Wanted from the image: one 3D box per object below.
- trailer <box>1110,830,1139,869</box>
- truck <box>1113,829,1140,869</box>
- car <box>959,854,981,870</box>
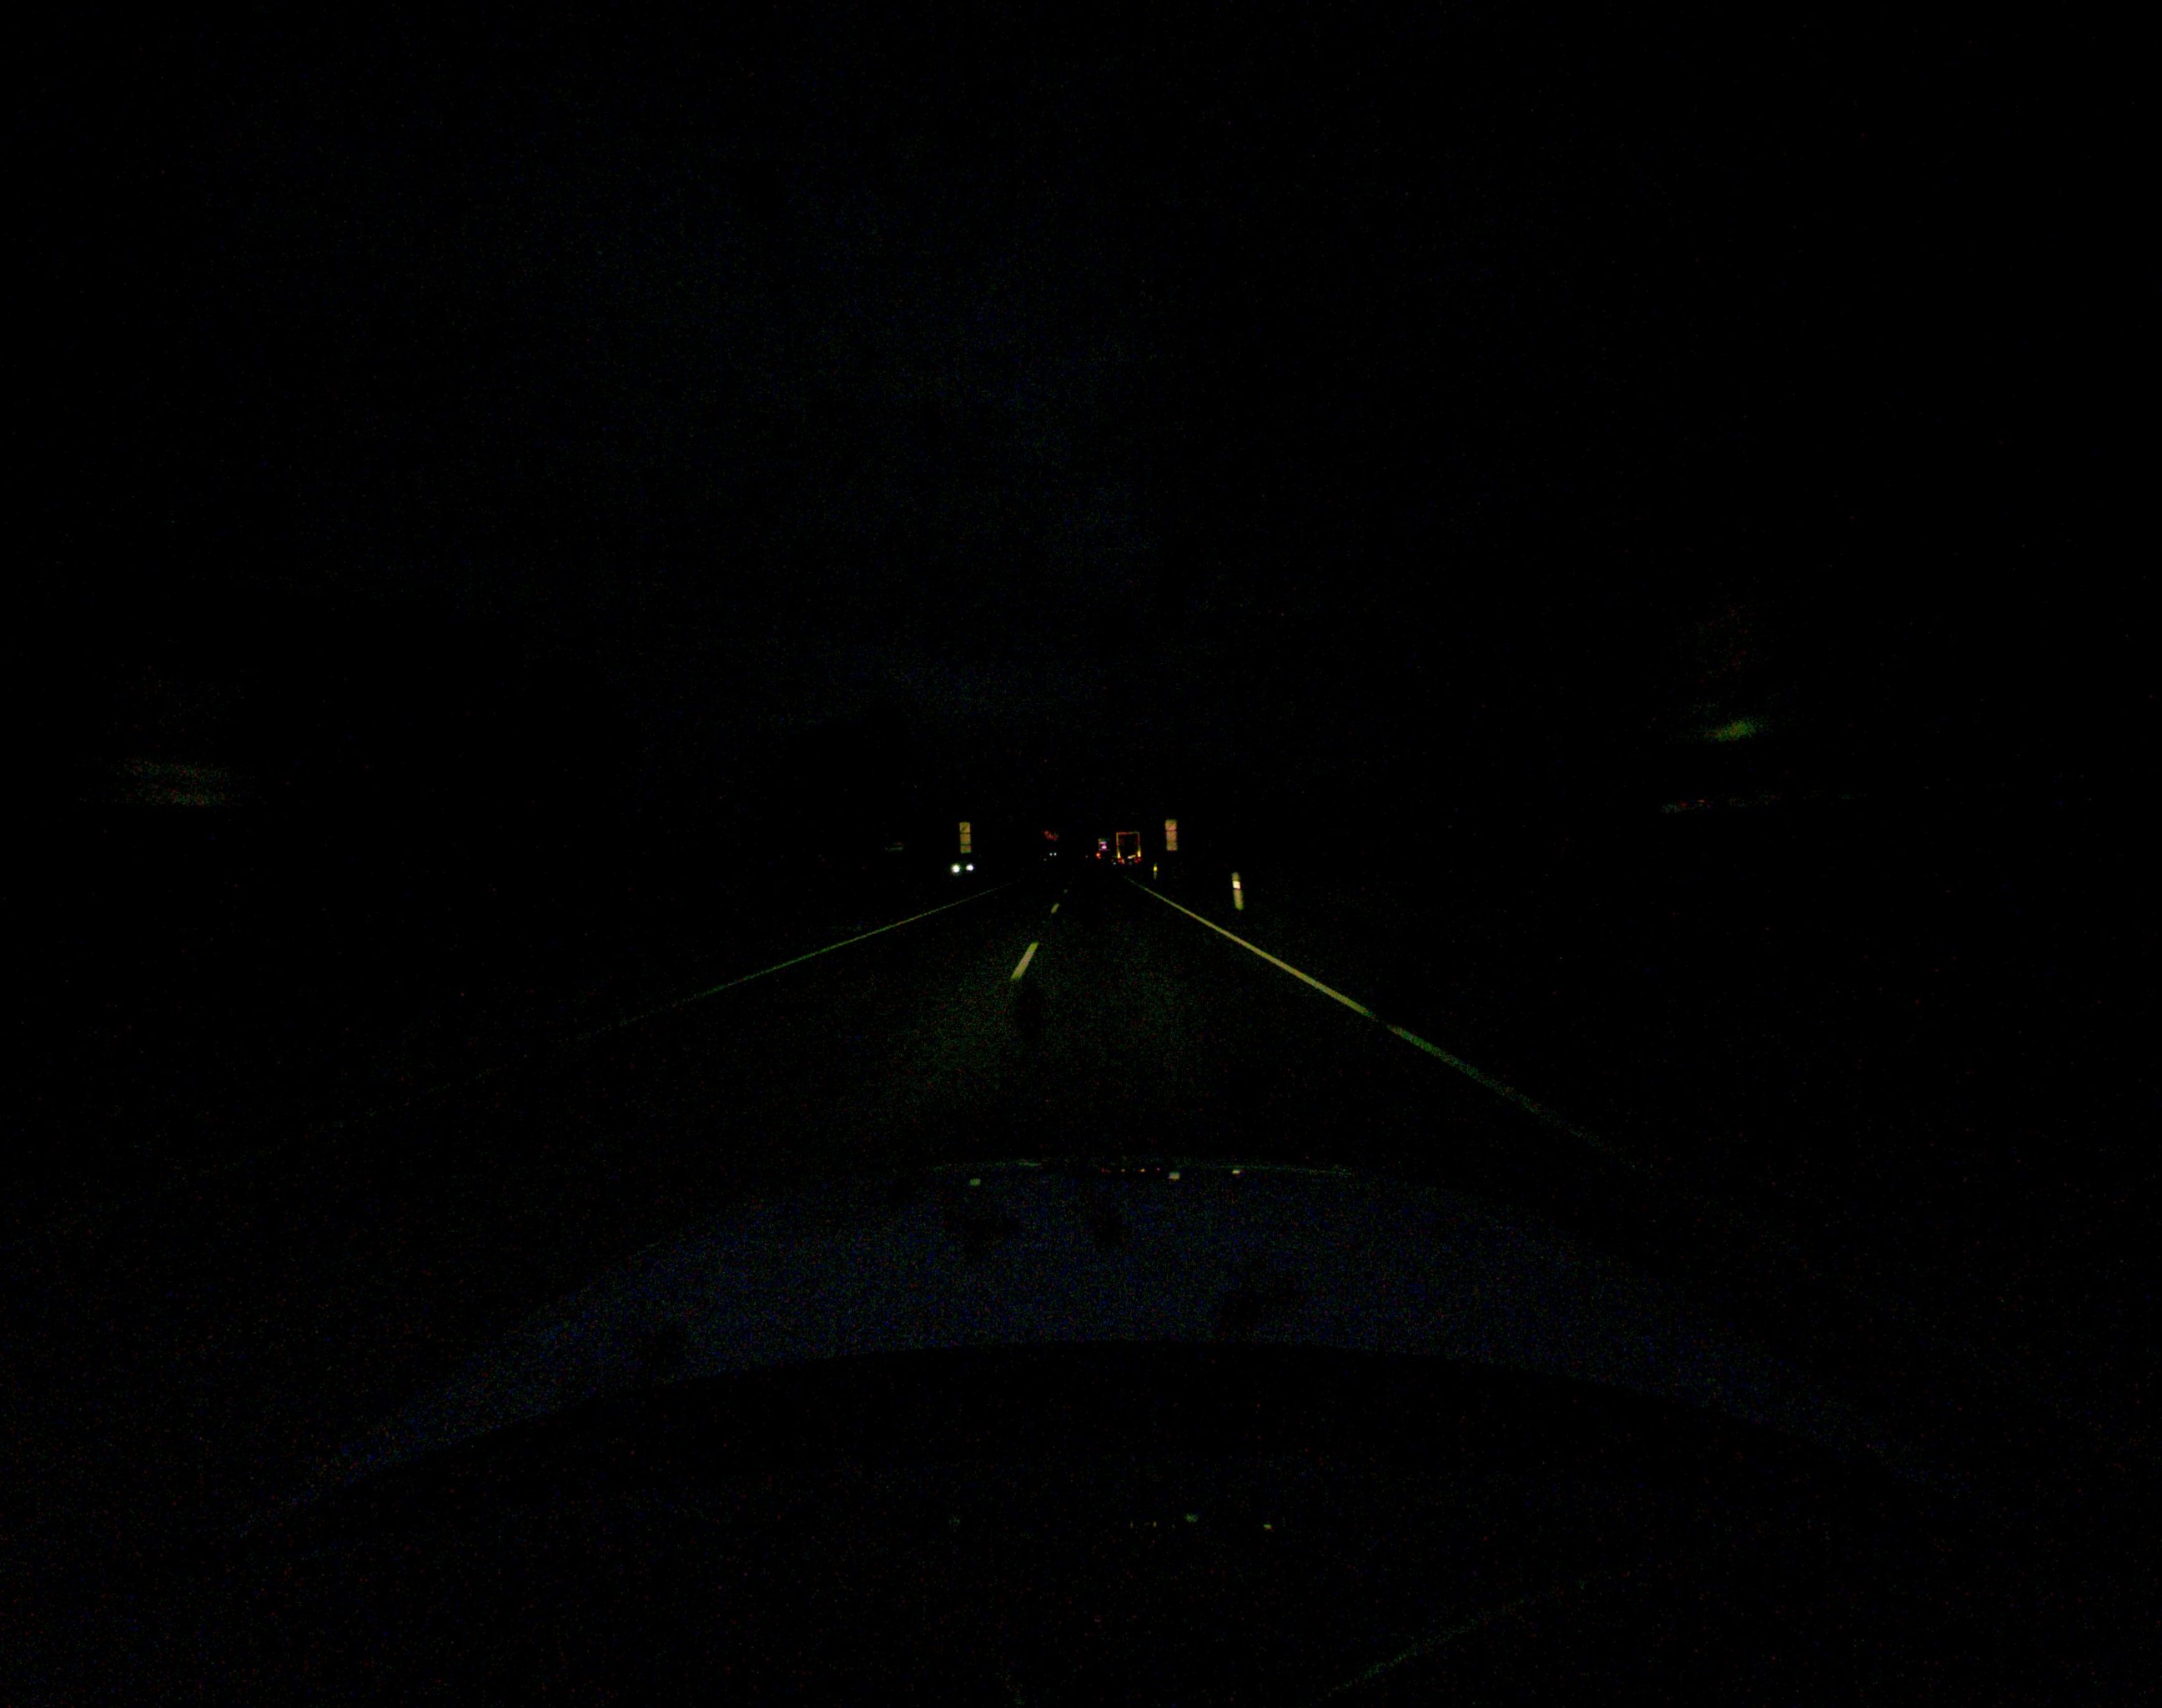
[{"bbox_3d":[4.930,-0.487,94.979,2.613,4.104,12.936,-2,0,0],"label":"trailer"},{"bbox_3d":[4.826,-0.513,87.662,2.570,4.071,6.131,-1,0,1],"label":"truck"},{"bbox_3d":[-11.266,0.802,82.801,1.650,1.505,3.999,-1,0,-1],"label":"car"}]
